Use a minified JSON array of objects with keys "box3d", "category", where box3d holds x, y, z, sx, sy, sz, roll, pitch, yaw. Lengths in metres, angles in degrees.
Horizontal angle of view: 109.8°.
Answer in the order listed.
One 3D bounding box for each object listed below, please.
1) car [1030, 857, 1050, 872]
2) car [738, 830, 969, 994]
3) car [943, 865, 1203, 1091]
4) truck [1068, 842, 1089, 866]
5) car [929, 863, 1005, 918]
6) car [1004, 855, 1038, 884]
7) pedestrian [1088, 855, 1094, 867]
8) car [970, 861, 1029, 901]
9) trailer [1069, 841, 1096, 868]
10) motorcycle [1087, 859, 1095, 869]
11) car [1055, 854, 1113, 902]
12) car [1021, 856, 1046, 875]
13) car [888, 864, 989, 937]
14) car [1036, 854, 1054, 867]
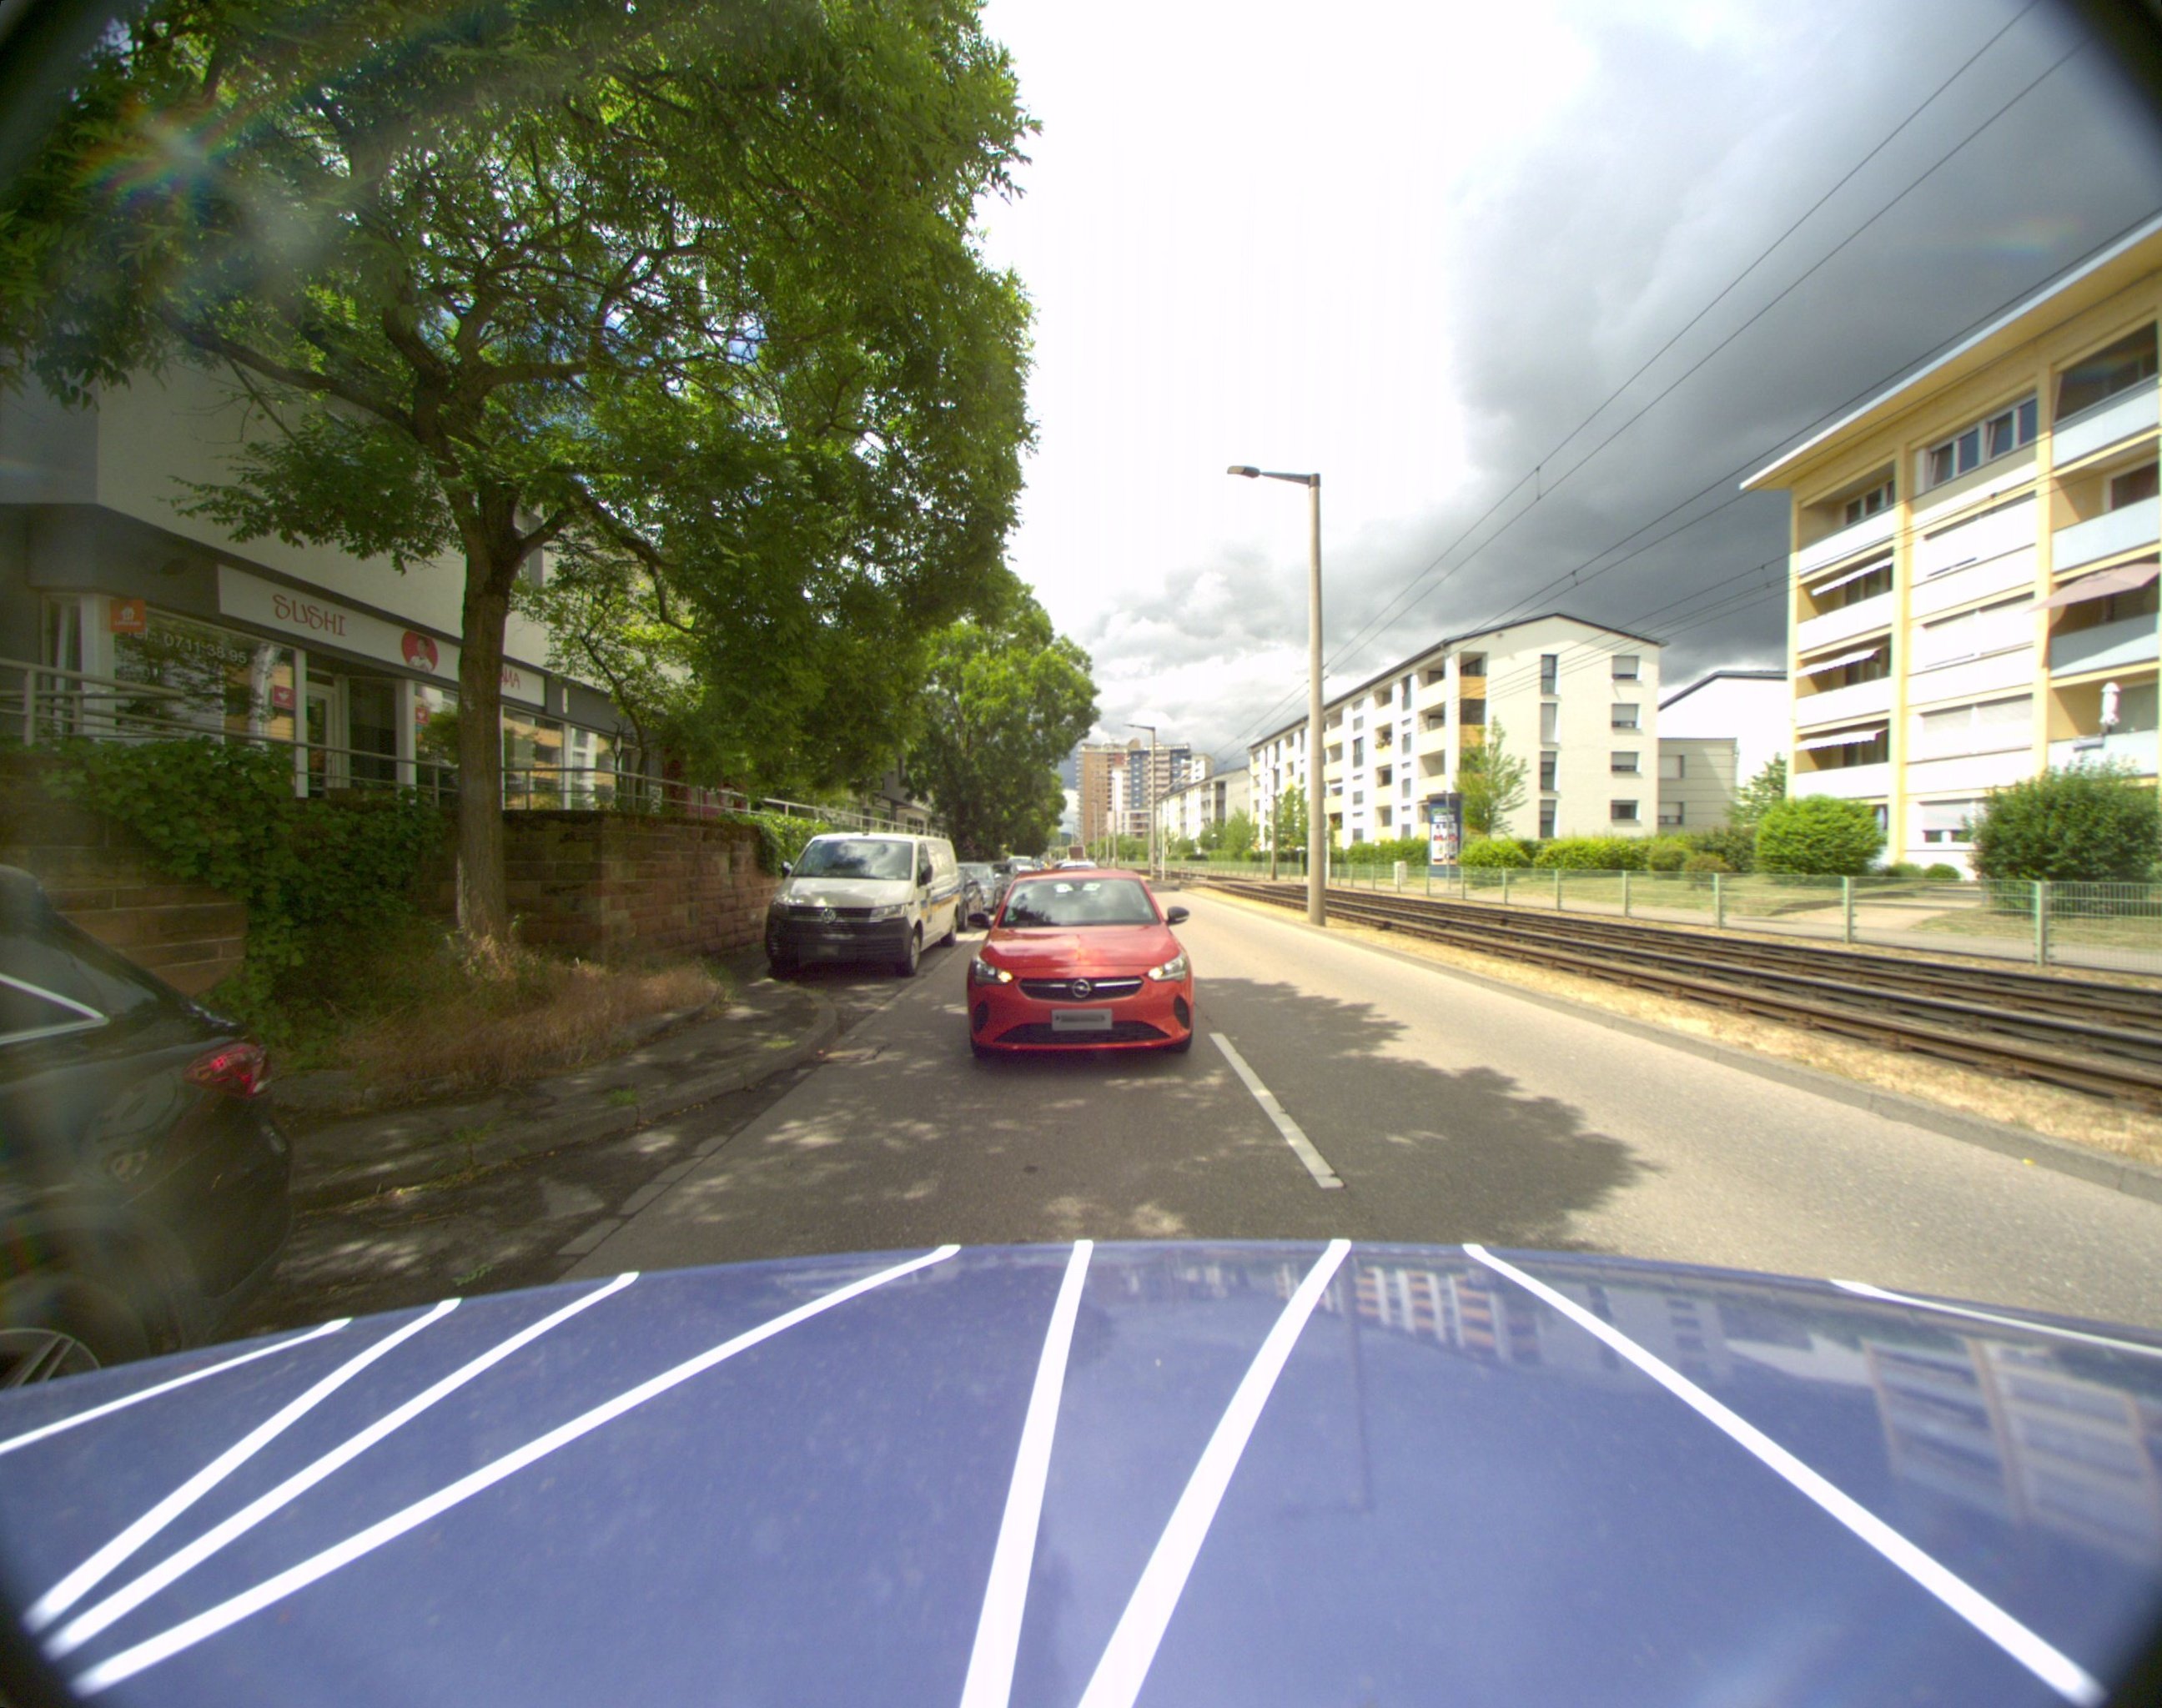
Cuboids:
[{"box3d":[-4.264,1.067,78.945,1.784,1.420,4.147,-1,0,1],"category":"car"},{"box3d":[-3.113,0.691,11.682,1.978,1.958,5.012,-1,0,1],"category":"car"},{"box3d":[-0.009,0.861,7.076,1.723,1.434,4.000,-1,0,1],"category":"car"},{"box3d":[-0.367,-0.009,116.439,2.853,3.429,4.414,-3,1,-3],"category":"truck"},{"box3d":[-3.288,1.016,22.647,1.785,1.420,4.144,-1,0,-2],"category":"car"},{"box3d":[-3.518,0.881,45.027,1.819,1.643,4.146,0,0,-2],"category":"car"},{"box3d":[1.197,0.854,90.978,0.737,1.408,0.927,-3,1,-1],"category":"pedestrian"},{"box3d":[-3.116,0.998,29.722,1.784,1.420,4.147,-1,0,1],"category":"car"},{"box3d":[0.058,0.041,108.236,2.876,3.429,14.610,-3,0,-3],"category":"trailer"},{"box3d":[1.206,1.202,91.027,0.783,1.181,1.869,-2,1,-1],"category":"motorcycle"},{"box3d":[0.129,0.841,28.262,1.927,1.543,4.000,-3,1,1],"category":"car"},{"box3d":[-3.837,0.899,61.974,1.784,1.420,4.147,-1,0,1],"category":"car"},{"box3d":[-3.172,0.988,17.554,1.578,1.420,3.734,-1,0,1],"category":"car"},{"box3d":[-4.077,0.761,85.999,1.784,1.420,4.147,-1,0,1],"category":"car"}]
